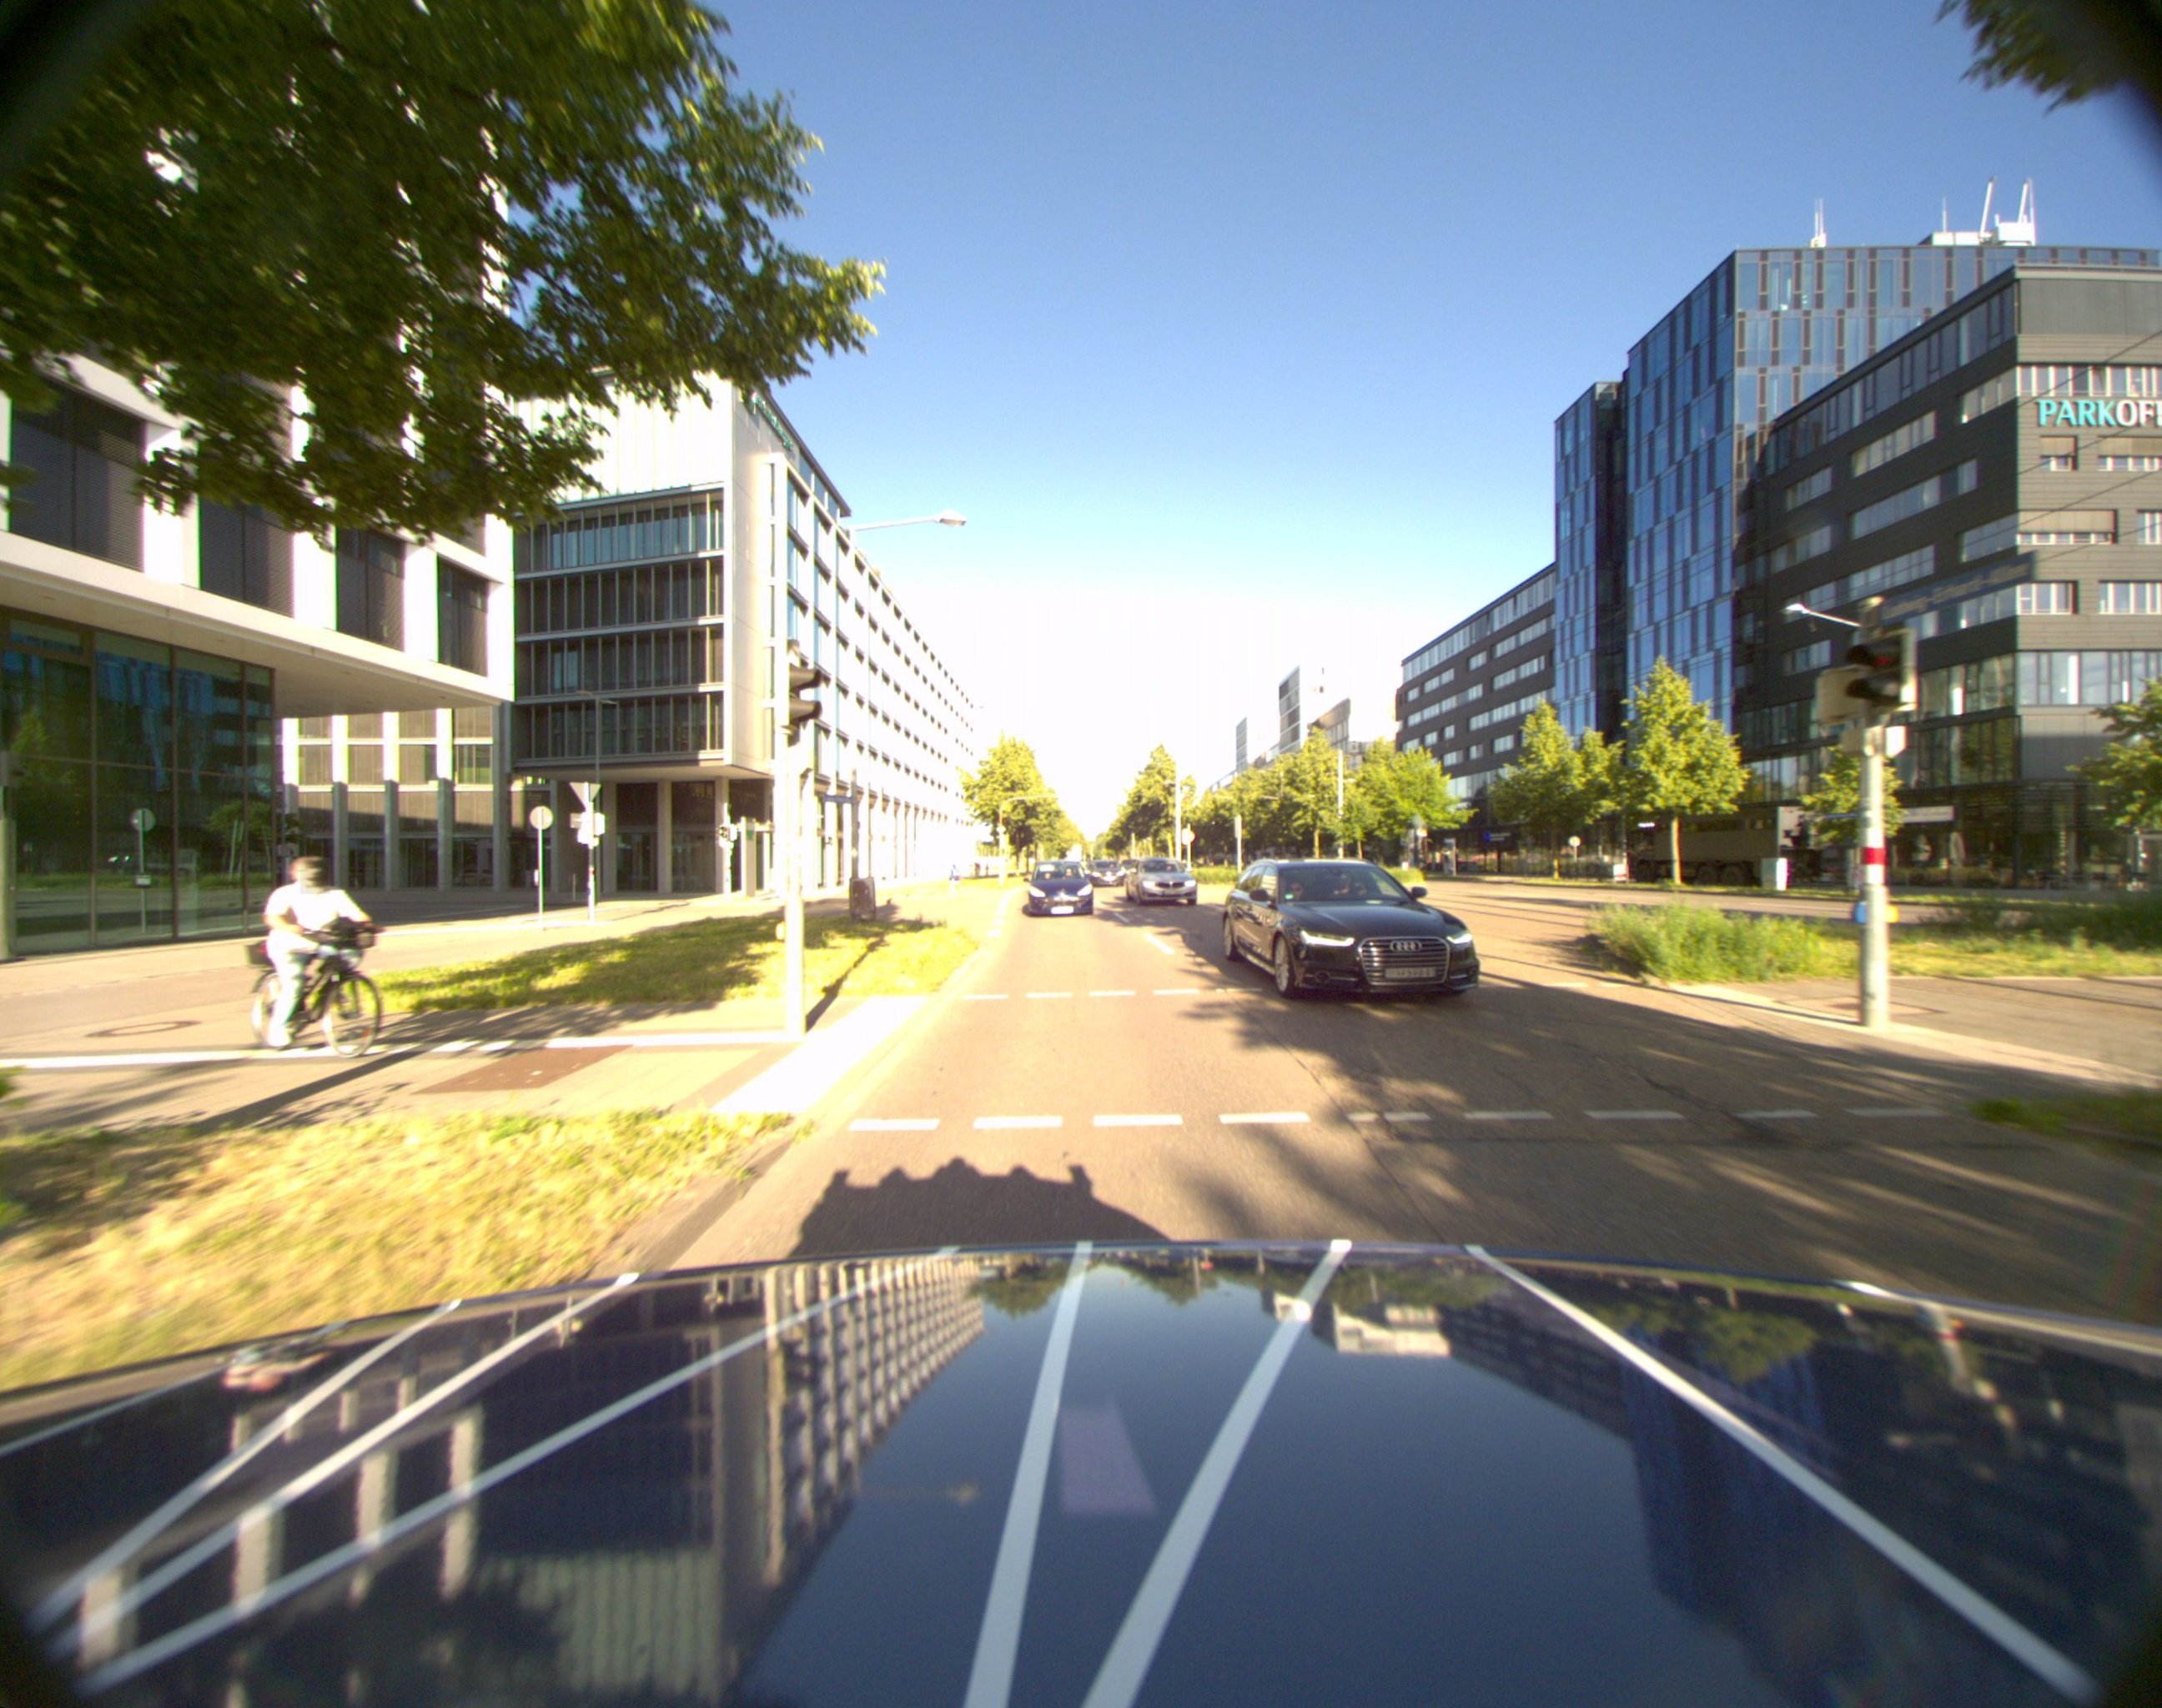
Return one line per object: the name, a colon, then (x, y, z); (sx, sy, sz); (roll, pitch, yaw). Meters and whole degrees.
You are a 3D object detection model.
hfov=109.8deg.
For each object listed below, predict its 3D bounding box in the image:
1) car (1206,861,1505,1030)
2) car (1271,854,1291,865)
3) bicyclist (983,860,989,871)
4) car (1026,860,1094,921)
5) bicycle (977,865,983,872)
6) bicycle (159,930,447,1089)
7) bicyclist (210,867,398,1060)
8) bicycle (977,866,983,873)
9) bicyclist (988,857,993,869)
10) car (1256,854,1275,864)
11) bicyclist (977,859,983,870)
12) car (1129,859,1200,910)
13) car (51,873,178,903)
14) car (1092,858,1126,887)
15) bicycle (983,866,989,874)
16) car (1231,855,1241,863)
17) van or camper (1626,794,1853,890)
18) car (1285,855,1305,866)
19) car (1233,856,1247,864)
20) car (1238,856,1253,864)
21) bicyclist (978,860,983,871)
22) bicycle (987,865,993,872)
car: (2.856, 0.847, 9.114); (1.813, 1.448, 4.507); (-1, 0, -2)
car: (33.899, 0.927, 129.009); (2.012, 1.689, 4.791); (-1, 0, -2)
bicyclist: (-10.498, 1.260, 83.946); (0.534, 1.210, 0.507); (-1, 1, 2)
car: (-0.506, 0.941, 21.262); (1.686, 1.513, 3.785); (-1, 0, 1)
bicycle: (-11.589, 1.671, 87.468); (0.464, 0.813, 1.345); (-1, 0, 2)
bicycle: (-6.628, 1.274, 6.508); (1.958, 1.167, 0.744); (-1, 0, 11)
bicyclist: (-6.604, 0.880, 6.496); (0.848, 1.522, 0.774); (0, 0, 11)
bicycle: (-11.094, 1.697, 83.722); (0.415, 0.813, 1.320); (-1, 0, 2)
bicyclist: (-10.405, 1.041, 87.196); (0.534, 1.282, 0.521); (-1, 1, 2)
car: (33.792, 0.879, 139.351); (2.012, 1.689, 4.791); (-1, 0, -2)
bicyclist: (-11.633, 1.182, 87.317); (0.534, 1.282, 0.457); (-1, 1, 2)
car: (2.624, 0.907, 24.826); (1.812, 1.480, 4.742); (-1, 0, 0)
car: (-53.175, 1.834, 41.921); (1.657, 1.496, 4.004); (-1, 0, 13)
car: (1.549, 1.024, 42.525); (1.812, 1.513, 4.029); (-1, 0, 1)
bicycle: (-10.485, 1.736, 84.095); (0.464, 0.813, 1.345); (-1, 0, 2)
car: (34.124, 1.140, 167.486); (1.601, 1.659, 3.744); (-1, 0, 1)
van or camper: (32.416, -0.537, 38.285); (2.760, 4.168, 10.230); (-1, 0, 1)
car: (33.392, 0.999, 118.888); (1.858, 1.674, 4.793); (-1, 0, 1)
car: (34.069, 1.226, 162.657); (2.012, 1.689, 4.792); (-1, 0, 0)
car: (33.983, 1.244, 156.850); (2.012, 1.689, 4.792); (-1, 0, 0)
bicyclist: (-11.099, 1.266, 83.665); (0.448, 1.282, 0.418); (-1, 1, 2)
bicycle: (-10.417, 1.645, 87.101); (0.464, 0.813, 1.345); (-1, 0, 2)
